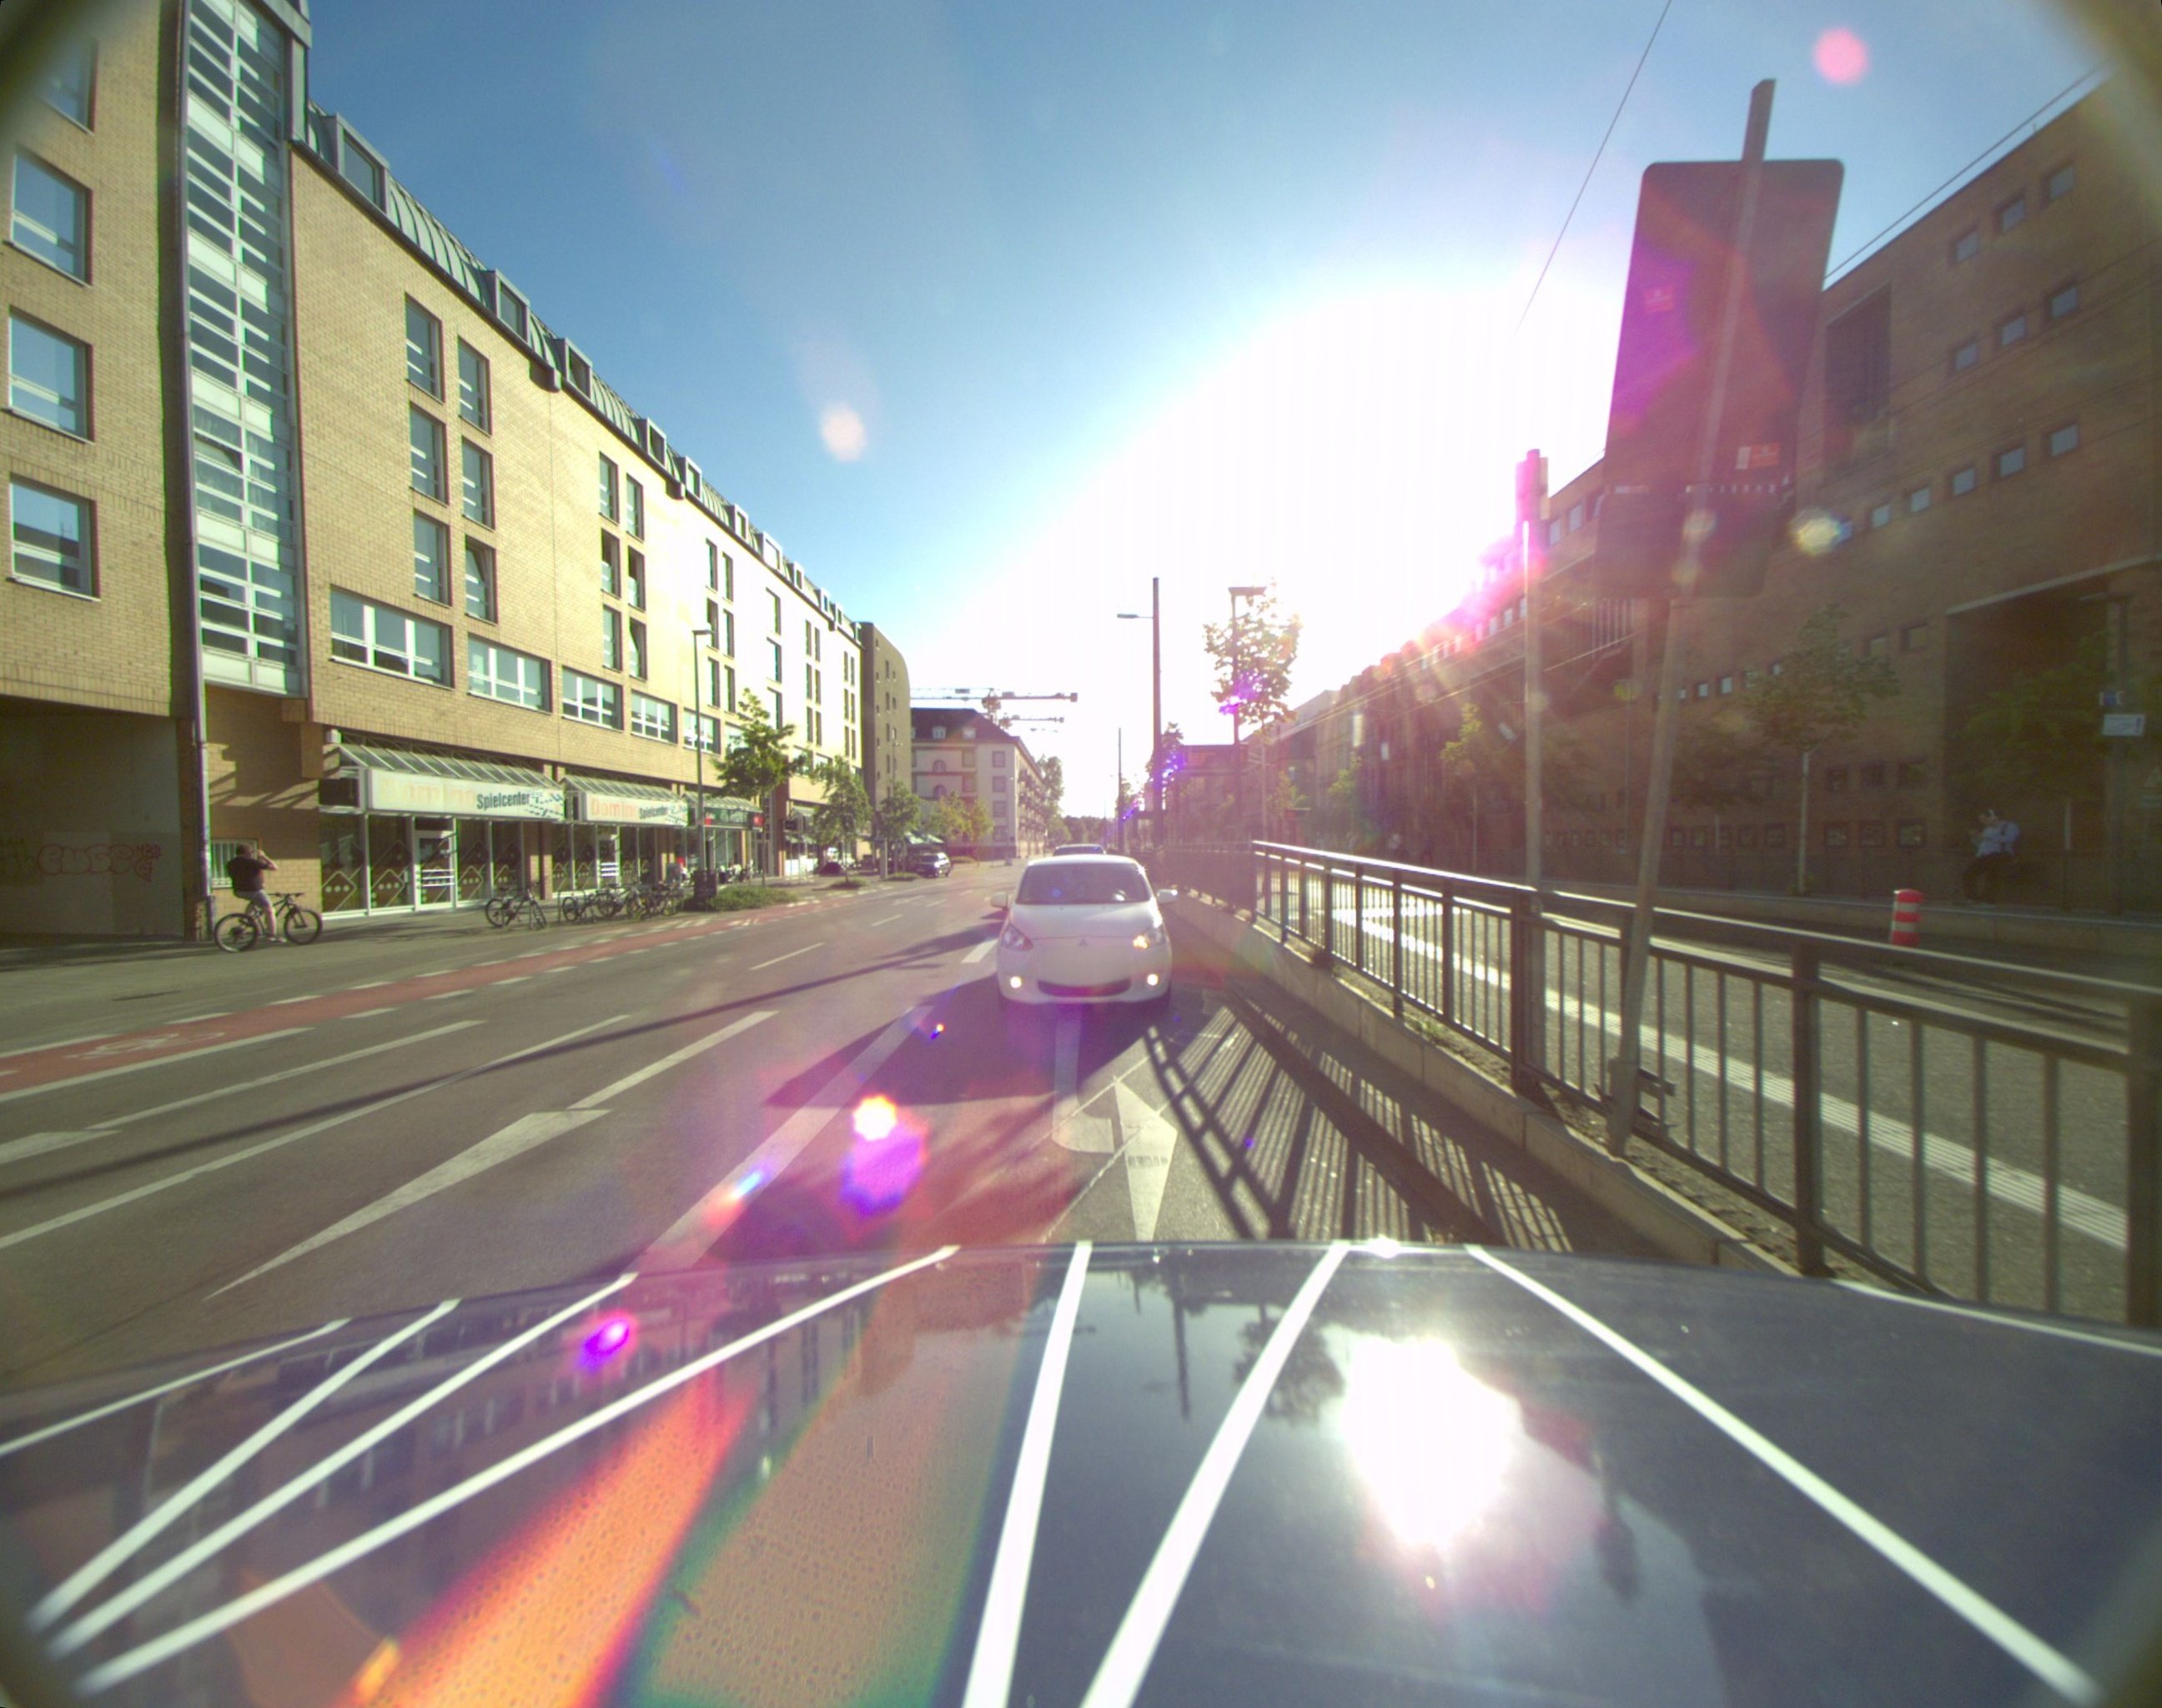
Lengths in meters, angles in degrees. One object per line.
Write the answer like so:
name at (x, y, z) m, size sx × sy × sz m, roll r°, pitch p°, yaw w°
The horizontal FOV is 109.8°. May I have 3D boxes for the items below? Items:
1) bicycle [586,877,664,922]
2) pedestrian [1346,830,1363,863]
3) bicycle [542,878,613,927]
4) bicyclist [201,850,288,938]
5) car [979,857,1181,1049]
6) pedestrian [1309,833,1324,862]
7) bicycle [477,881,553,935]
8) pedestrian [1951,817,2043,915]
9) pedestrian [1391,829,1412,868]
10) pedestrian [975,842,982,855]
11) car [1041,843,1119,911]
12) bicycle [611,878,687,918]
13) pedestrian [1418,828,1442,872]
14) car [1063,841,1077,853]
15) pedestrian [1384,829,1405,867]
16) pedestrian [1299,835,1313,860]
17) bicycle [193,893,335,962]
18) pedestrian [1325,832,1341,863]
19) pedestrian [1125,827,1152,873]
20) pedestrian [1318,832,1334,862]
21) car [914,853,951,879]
bicycle at (-12.339, 1.223, 20.562) m, size 1.774 × 1.135 × 0.553 m, roll 0°, pitch 3°, yaw 3°
pedestrian at (14.523, -0.373, 40.367) m, size 0.692 × 1.732 × 0.586 m, roll -1°, pitch 1°, yaw -2°
bicycle at (-12.800, 1.215, 19.297) m, size 1.771 × 1.142 × 0.554 m, roll 1°, pitch 3°, yaw 21°
bicyclist at (-15.059, 0.695, 13.698) m, size 0.580 × 1.506 × 0.850 m, roll 3°, pitch 0°, yaw -2°
car at (0.007, 0.842, 8.460) m, size 1.640 × 1.458 × 4.185 m, roll -2°, pitch 1°, yaw 0°
pedestrian at (14.210, -0.402, 45.776) m, size 0.692 × 1.732 × 0.586 m, roll -1°, pitch 1°, yaw -2°
bicycle at (-13.353, 1.264, 17.926) m, size 1.771 × 1.142 × 0.554 m, roll 1°, pitch 3°, yaw 21°
pedestrian at (14.760, 0.179, 12.259) m, size 0.701 × 1.526 × 0.654 m, roll -1°, pitch 1°, yaw -2°
pedestrian at (14.388, -0.239, 34.116) m, size 0.692 × 1.732 × 0.586 m, roll -1°, pitch 1°, yaw -2°
pedestrian at (-12.931, -0.732, 95.973) m, size 0.804 × 1.656 × 0.891 m, roll -1°, pitch 1°, yaw -6°
car at (-0.011, 0.569, 21.806) m, size 1.955 × 1.652 × 4.354 m, roll -2°, pitch 1°, yaw 0°
bicycle at (-12.383, 1.240, 21.808) m, size 1.774 × 1.065 × 0.737 m, roll 0°, pitch 3°, yaw 3°
pedestrian at (13.856, -0.166, 30.182) m, size 0.692 × 1.732 × 0.586 m, roll -1°, pitch 1°, yaw -2°
car at (-1.551, -0.963, 105.426) m, size 1.829 × 1.644 × 3.682 m, roll -1°, pitch 1°, yaw 1°
pedestrian at (14.347, -0.279, 34.759) m, size 0.692 × 1.732 × 0.586 m, roll -1°, pitch 1°, yaw -2°
pedestrian at (14.330, -0.389, 48.428) m, size 0.692 × 1.566 × 0.586 m, roll -1°, pitch 1°, yaw -2°
bicycle at (-15.089, 1.322, 14.114) m, size 0.602 × 1.044 × 1.881 m, roll 4°, pitch 1°, yaw -2°
pedestrian at (14.292, -0.391, 43.026) m, size 0.692 × 1.732 × 0.586 m, roll -1°, pitch 1°, yaw -2°
pedestrian at (2.510, -0.179, 33.123) m, size 0.882 × 2.002 × 0.782 m, roll -2°, pitch 1°, yaw -34°
pedestrian at (14.326, -0.393, 44.436) m, size 0.692 × 1.732 × 0.586 m, roll -1°, pitch 1°, yaw -2°
car at (-9.953, 0.766, 51.129) m, size 1.655 × 1.521 × 3.692 m, roll -2°, pitch 1°, yaw 1°
